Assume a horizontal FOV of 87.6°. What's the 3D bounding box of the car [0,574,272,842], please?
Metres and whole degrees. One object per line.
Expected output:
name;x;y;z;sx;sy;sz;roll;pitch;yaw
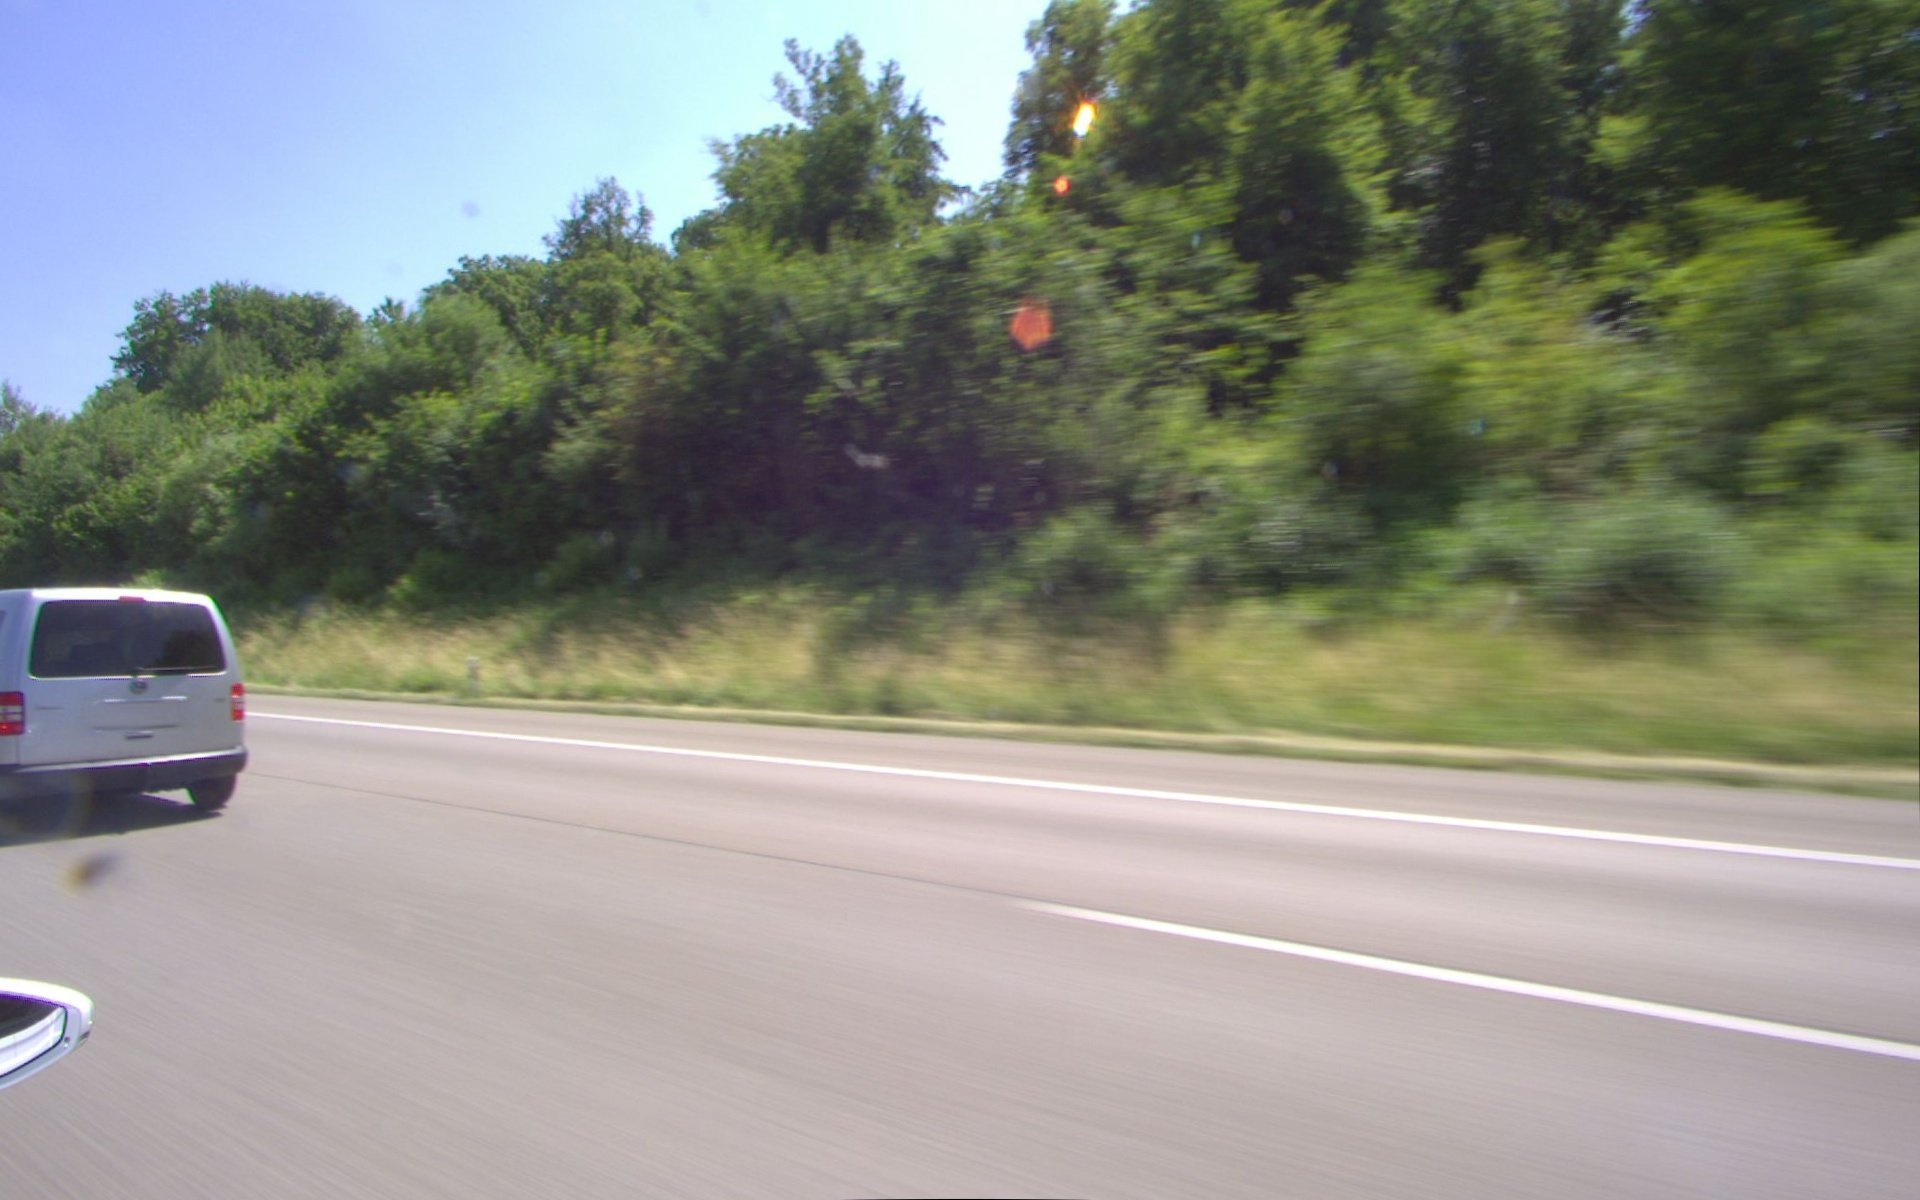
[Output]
car;-8.202;0.782;8.873;4.732;1.853;1.743;0;-2;32
